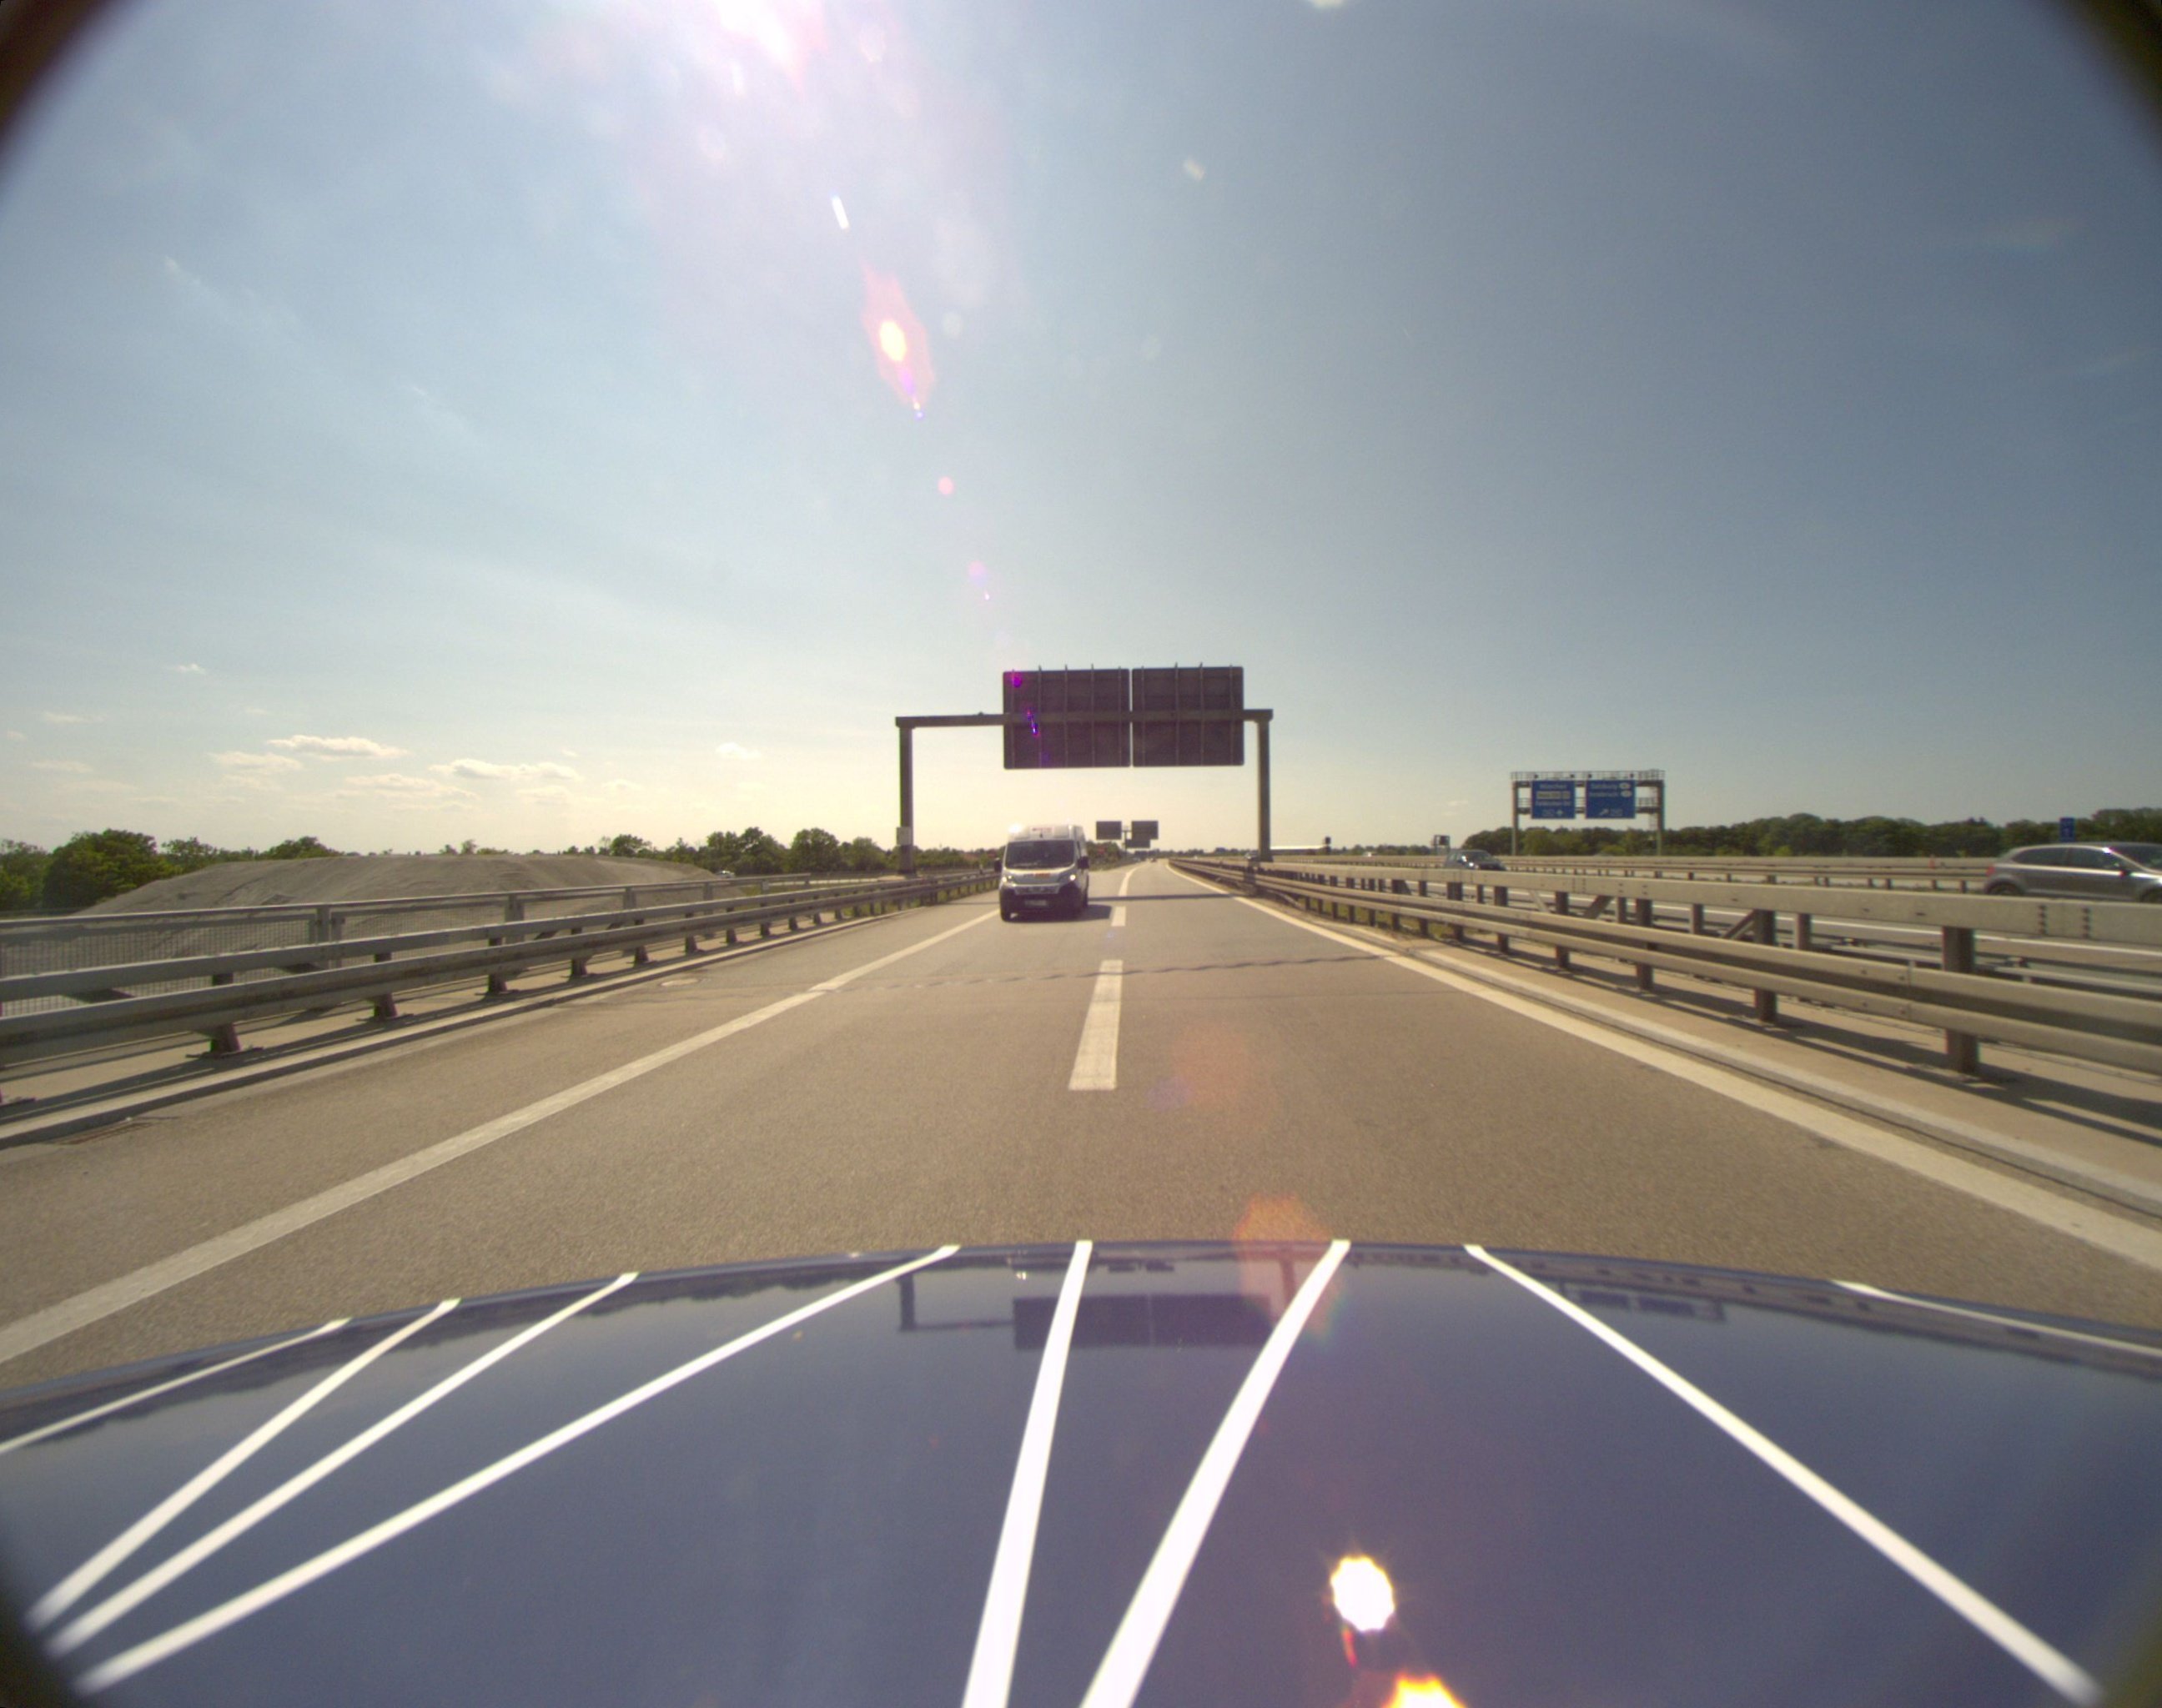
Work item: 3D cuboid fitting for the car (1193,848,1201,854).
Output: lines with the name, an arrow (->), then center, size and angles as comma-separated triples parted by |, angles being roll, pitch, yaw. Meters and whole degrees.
car -> 32.198, -0.785, 211.335 | 1.842, 1.508, 4.576 | -1, 0, 4

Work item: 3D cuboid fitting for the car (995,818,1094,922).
car -> -0.844, 0.405, 21.588 | 2.087, 2.509, 6.239 | -1, 0, 4

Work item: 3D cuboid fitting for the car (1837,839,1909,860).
car -> 55.067, -0.322, 52.895 | 1.582, 1.347, 3.343 | 0, 2, 2

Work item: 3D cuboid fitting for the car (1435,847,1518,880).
car -> 18.223, 0.399, 35.215 | 1.834, 1.424, 4.218 | -1, 0, 3

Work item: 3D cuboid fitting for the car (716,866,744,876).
car -> -62.695, 3.019, 135.698 | 4.302, 1.499, 1.997 | -3, 0, -19

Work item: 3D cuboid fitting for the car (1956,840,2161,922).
car -> 19.973, 0.467, 14.534 | 1.766, 1.414, 4.217 | -1, 0, 4

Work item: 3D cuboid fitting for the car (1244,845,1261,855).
car -> 26.887, -0.632, 119.321 | 1.842, 1.508, 4.576 | -1, 0, 4

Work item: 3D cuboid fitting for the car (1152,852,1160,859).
car -> 19.797, 0.352, 199.875 | 1.998, 1.744, 4.001 | -1, 1, 5

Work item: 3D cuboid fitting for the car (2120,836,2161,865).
car -> 52.788, -0.158, 36.361 | 1.582, 1.347, 3.343 | 0, 2, 2
